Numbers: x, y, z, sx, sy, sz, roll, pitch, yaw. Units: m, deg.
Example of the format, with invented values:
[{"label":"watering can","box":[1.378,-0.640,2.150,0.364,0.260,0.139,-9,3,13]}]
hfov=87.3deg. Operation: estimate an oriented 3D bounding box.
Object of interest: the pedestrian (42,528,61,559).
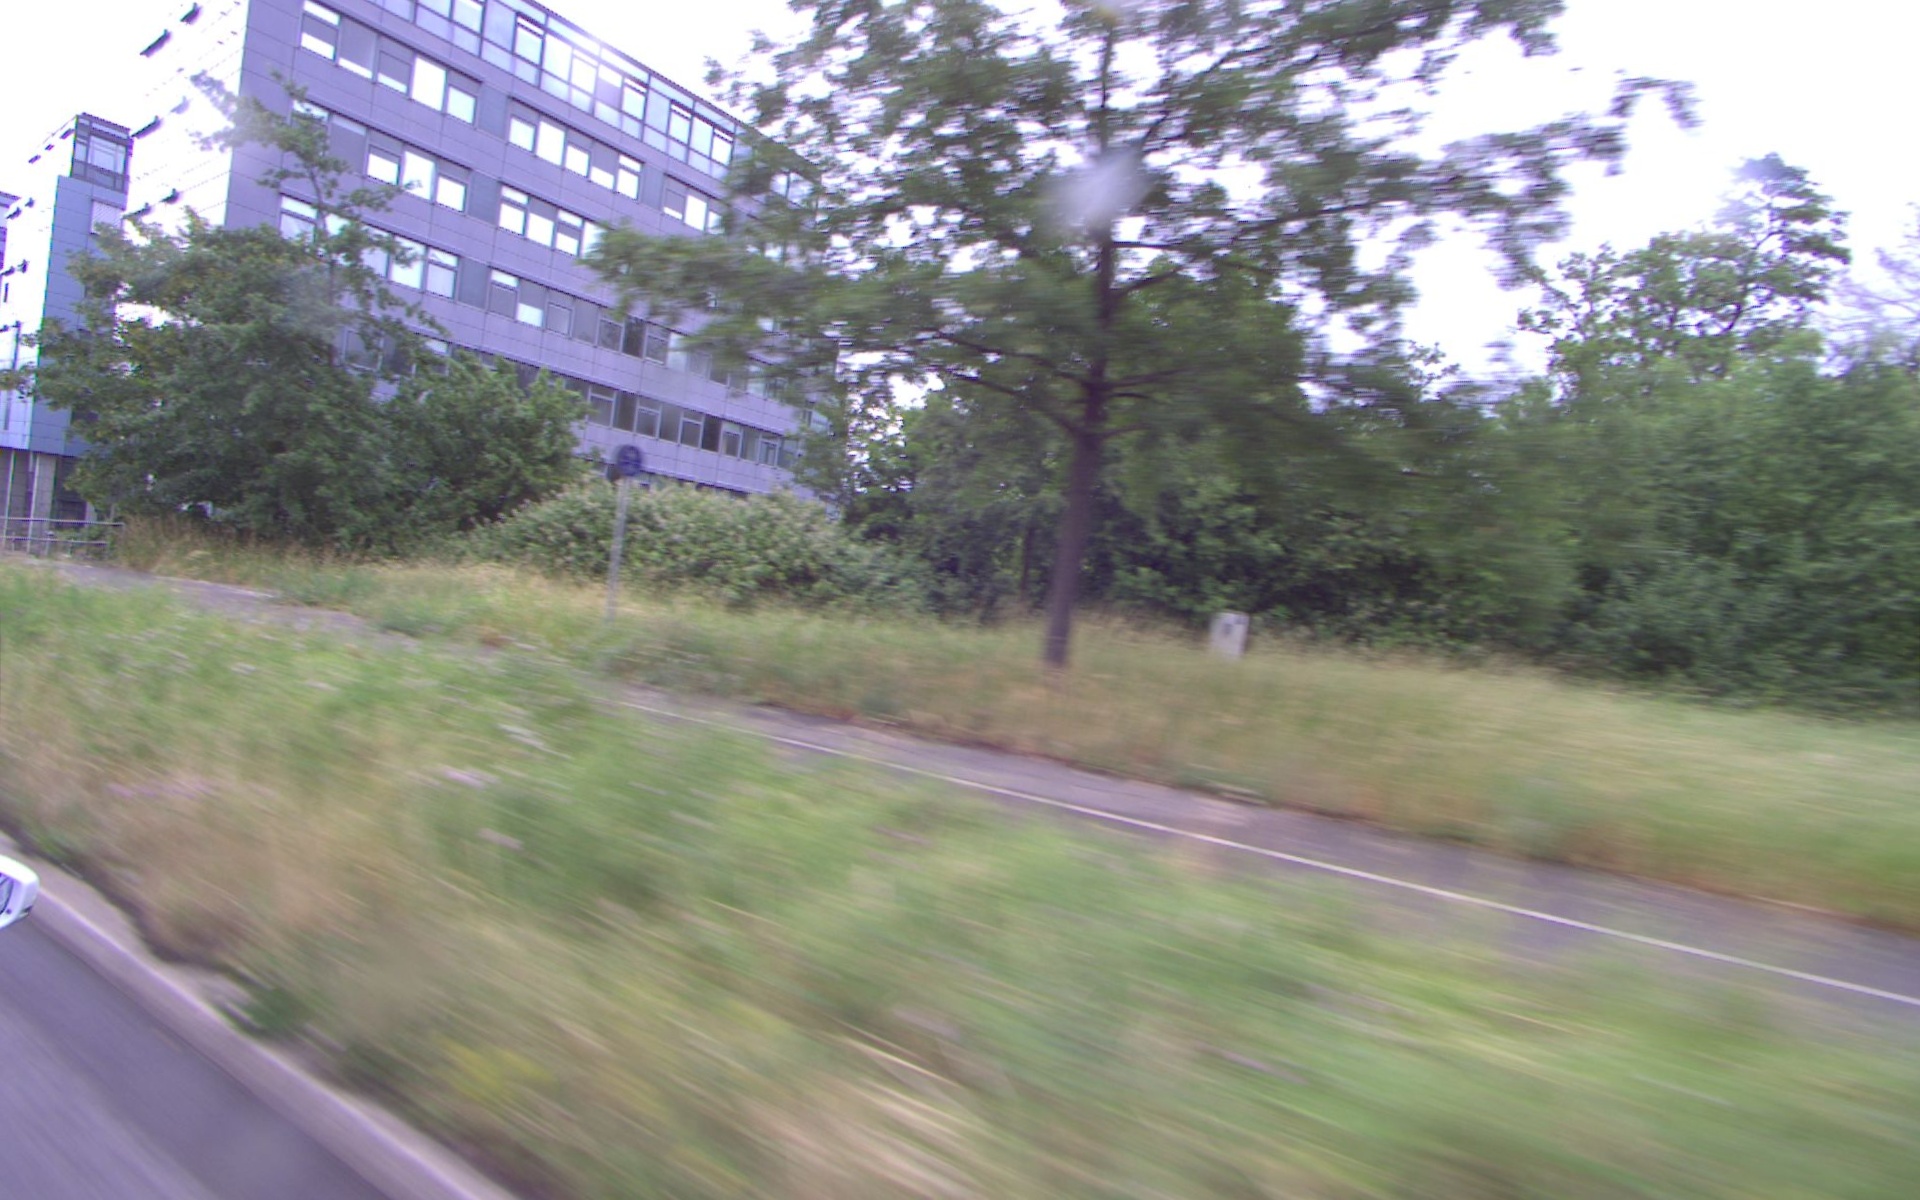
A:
[{"label":"pedestrian","box":[-44.470,-2.777,49.243,0.450,1.425,0.503,6,-1,36]}]
